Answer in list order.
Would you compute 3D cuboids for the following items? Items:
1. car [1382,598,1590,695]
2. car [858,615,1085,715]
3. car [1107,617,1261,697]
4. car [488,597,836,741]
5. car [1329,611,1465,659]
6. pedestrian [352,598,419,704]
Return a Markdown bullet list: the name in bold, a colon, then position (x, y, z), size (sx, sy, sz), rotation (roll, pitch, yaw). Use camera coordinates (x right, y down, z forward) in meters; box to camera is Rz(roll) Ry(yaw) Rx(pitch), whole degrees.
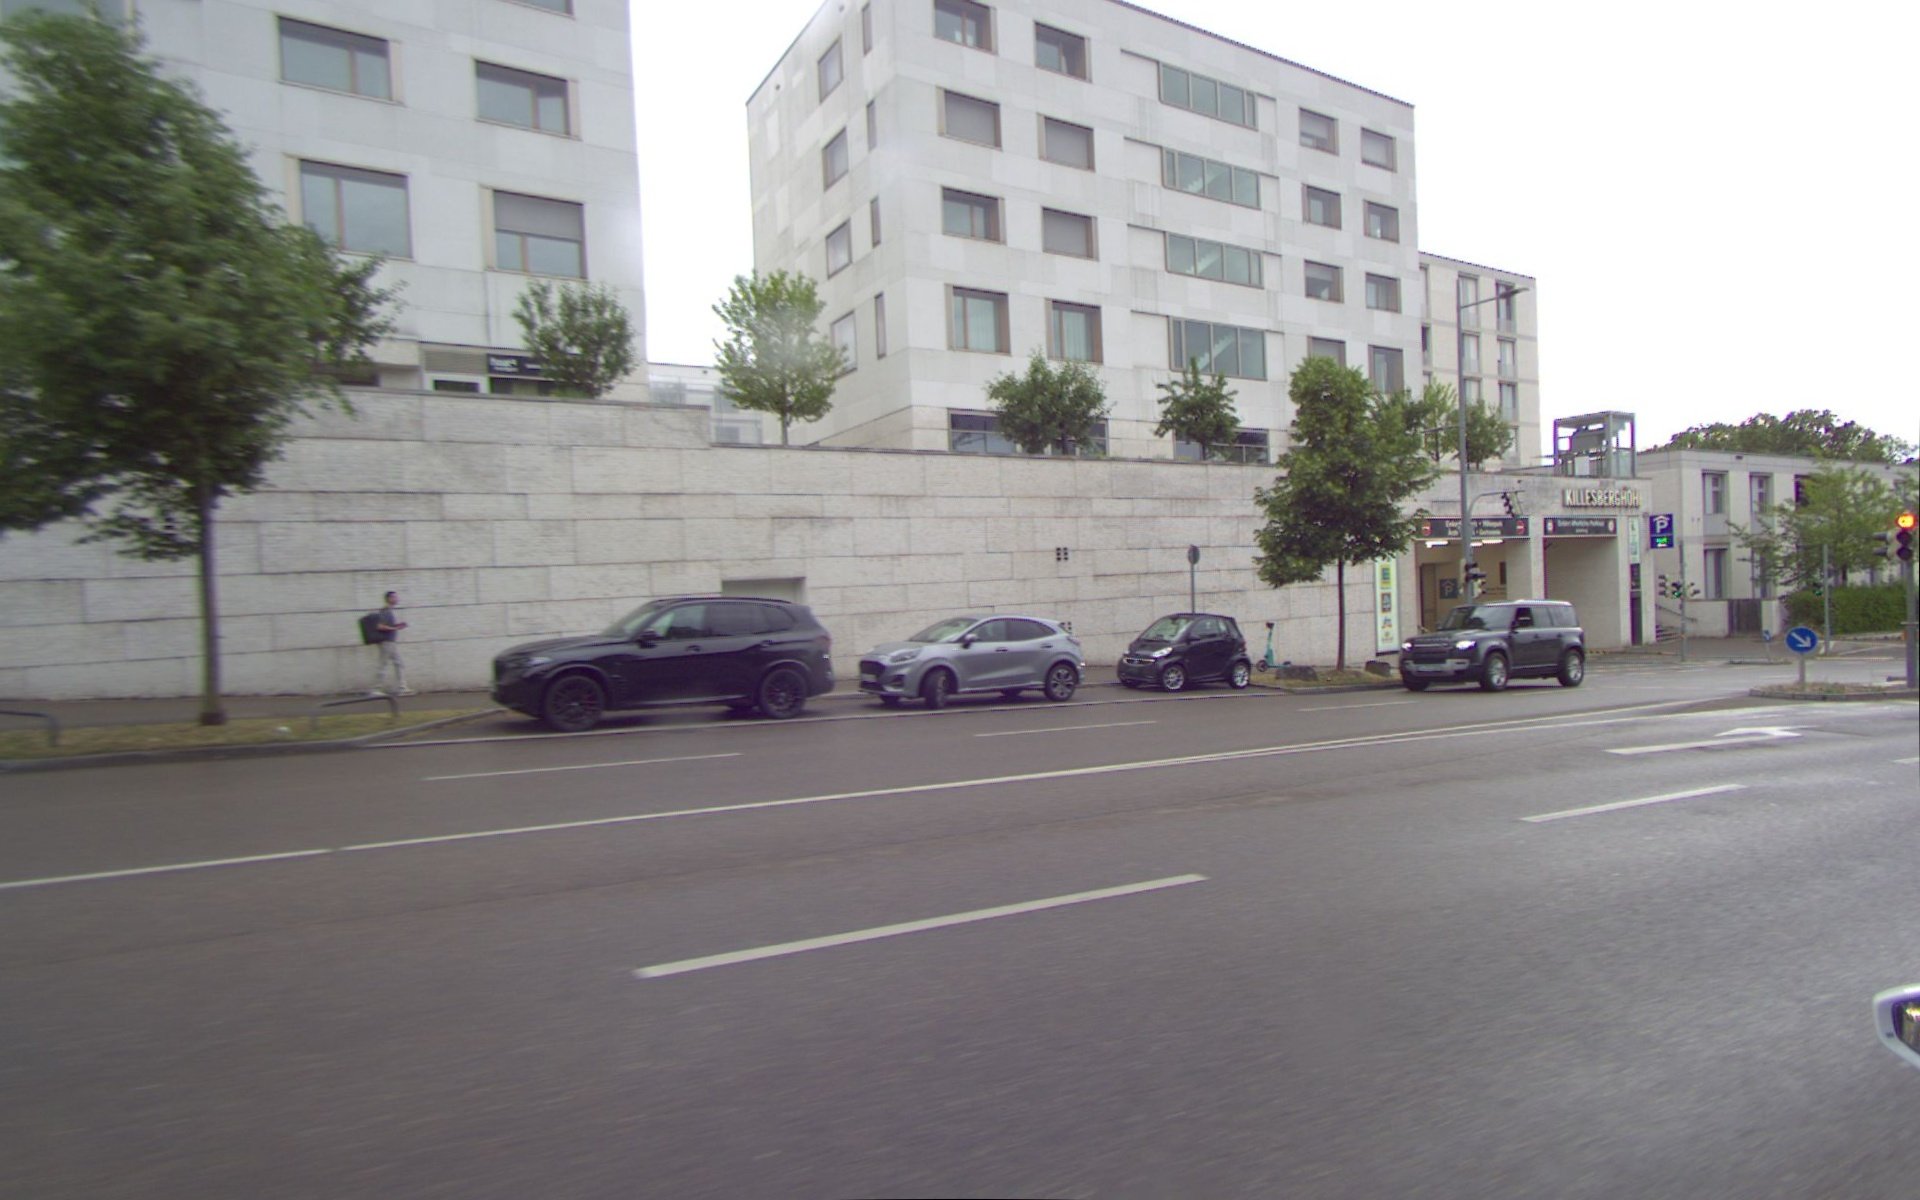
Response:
- **car**: position (11.313, 1.000, 21.530), size (4.456, 1.881, 1.911), rotation (1, -4, -32)
- **car**: position (0.228, 1.060, 17.584), size (3.669, 1.535, 1.670), rotation (1, 0, -32)
- **car**: position (4.703, 1.134, 21.087), size (2.946, 1.535, 1.500), rotation (1, 0, -31)
- **car**: position (-4.269, 0.893, 14.651), size (4.547, 1.804, 1.846), rotation (1, 0, -33)
- **car**: position (16.538, 1.316, 38.204), size (1.907, 1.694, 4.477), rotation (1, -2, -32)
- **pedestrian**: position (-10.074, 0.869, 17.610), size (1.010, 1.798, 0.704), rotation (0, -1, -32)
